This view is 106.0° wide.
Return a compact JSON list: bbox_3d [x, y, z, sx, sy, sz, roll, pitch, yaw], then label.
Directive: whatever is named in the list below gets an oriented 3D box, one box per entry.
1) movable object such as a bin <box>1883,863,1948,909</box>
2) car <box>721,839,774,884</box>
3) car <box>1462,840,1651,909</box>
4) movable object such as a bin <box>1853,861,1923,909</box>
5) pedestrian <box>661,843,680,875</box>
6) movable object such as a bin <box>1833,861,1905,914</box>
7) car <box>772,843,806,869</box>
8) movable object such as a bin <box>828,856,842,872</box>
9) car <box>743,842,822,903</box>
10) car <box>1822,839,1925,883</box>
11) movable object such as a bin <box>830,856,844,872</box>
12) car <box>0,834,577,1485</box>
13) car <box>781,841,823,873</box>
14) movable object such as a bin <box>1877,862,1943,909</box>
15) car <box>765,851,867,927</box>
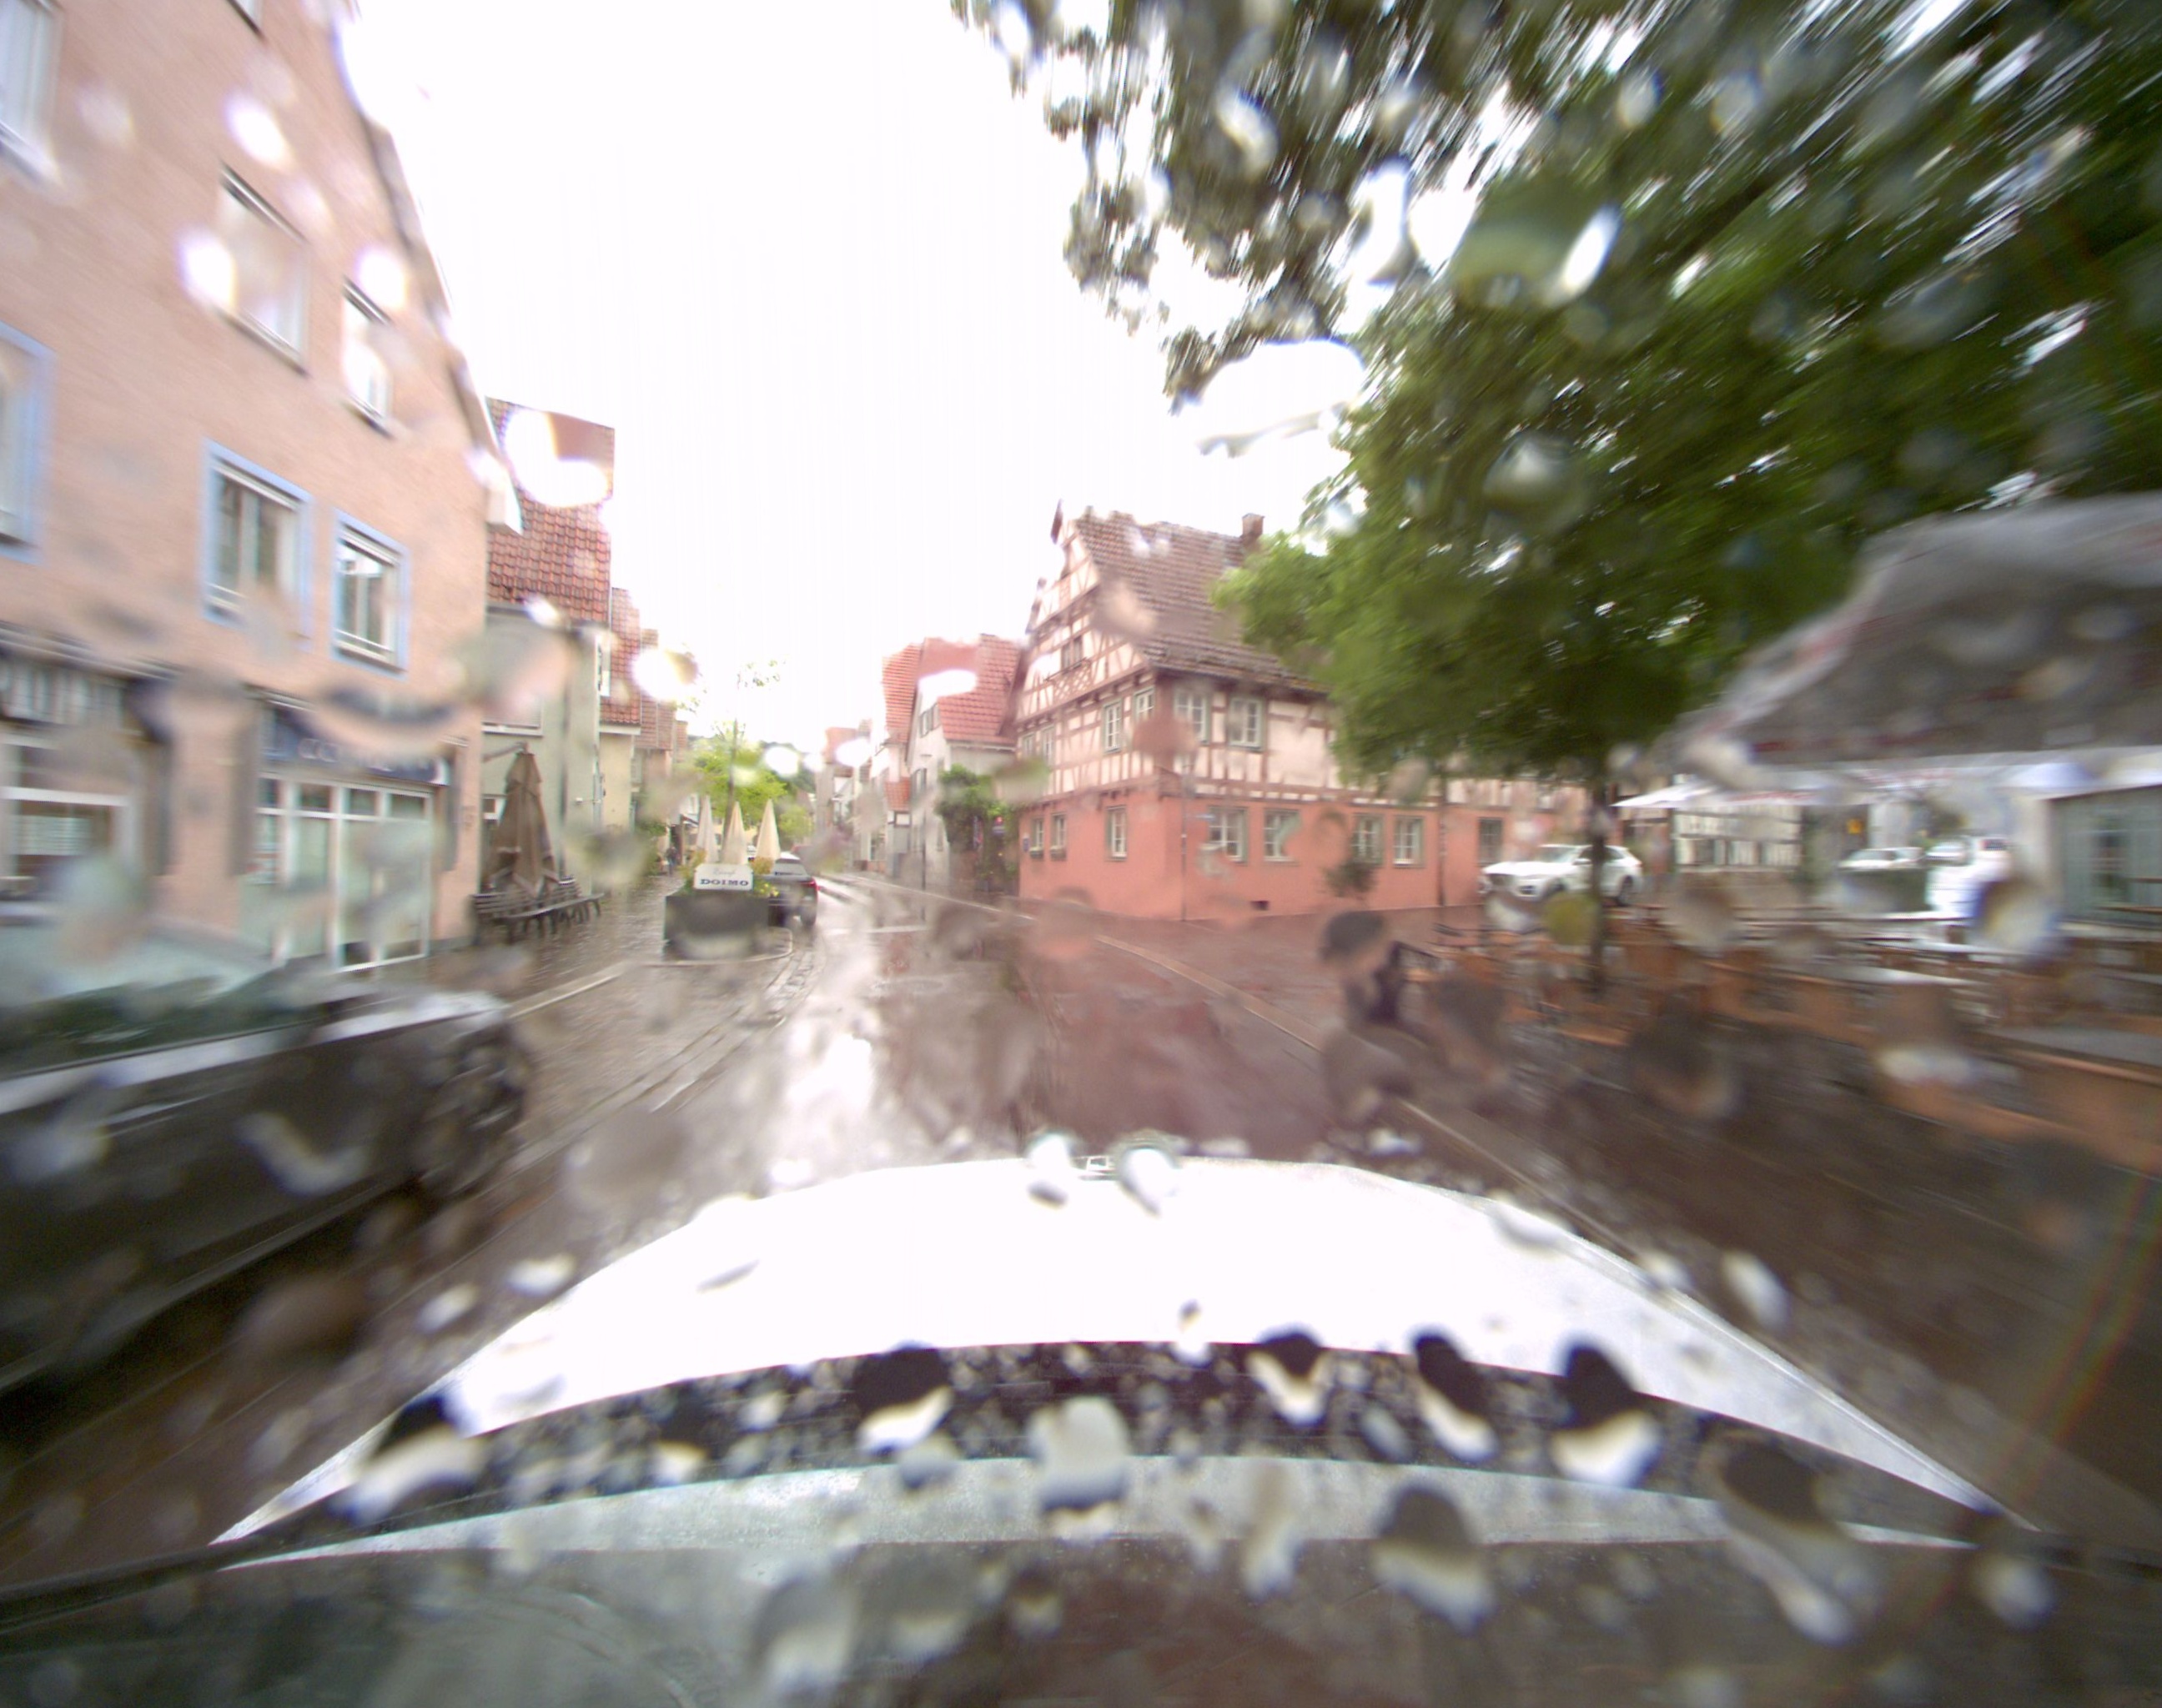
[{"bbox_3d":[19.164,0.725,18.722,0.698,1.026,0.850,2,-2,-25],"label":"movable object such as a bin"},{"bbox_3d":[-13.664,0.351,33.369,1.831,1.666,4.607,2,-2,-22],"label":"car"},{"bbox_3d":[12.484,0.456,21.376,4.622,1.633,1.984,0,2,-25],"label":"car"},{"bbox_3d":[17.768,0.676,17.933,0.831,1.023,0.850,2,-2,-25],"label":"movable object such as a bin"},{"bbox_3d":[-22.071,0.265,43.772,0.793,1.682,1.165,2,-3,-32],"label":"pedestrian"},{"bbox_3d":[16.954,0.726,17.531,0.880,1.111,0.850,2,-2,-25],"label":"movable object such as a bin"},{"bbox_3d":[-22.341,0.184,62.272,2.003,1.799,3.966,2,-2,-26],"label":"car"},{"bbox_3d":[-16.208,0.657,53.714,0.800,1.081,0.577,1,-2,-27],"label":"movable object such as a bin"},{"bbox_3d":[-8.598,0.501,23.377,1.869,1.524,4.297,3,-1,-21],"label":"car"},{"bbox_3d":[31.396,0.216,32.234,4.634,1.633,1.979,-1,2,-34],"label":"car"},{"bbox_3d":[-15.937,0.655,53.140,0.797,1.081,0.609,1,-2,-27],"label":"movable object such as a bin"},{"bbox_3d":[-3.498,0.714,2.090,1.872,1.541,4.392,1,-2,-4],"label":"car"},{"bbox_3d":[-17.694,0.162,51.546,1.904,1.811,3.966,3,0,-27],"label":"car"},{"bbox_3d":[18.551,0.701,18.229,0.698,1.026,0.850,2,-2,-25],"label":"movable object such as a bin"},{"bbox_3d":[-5.979,0.692,18.119,1.868,1.442,4.587,1,0,-21],"label":"car"}]
